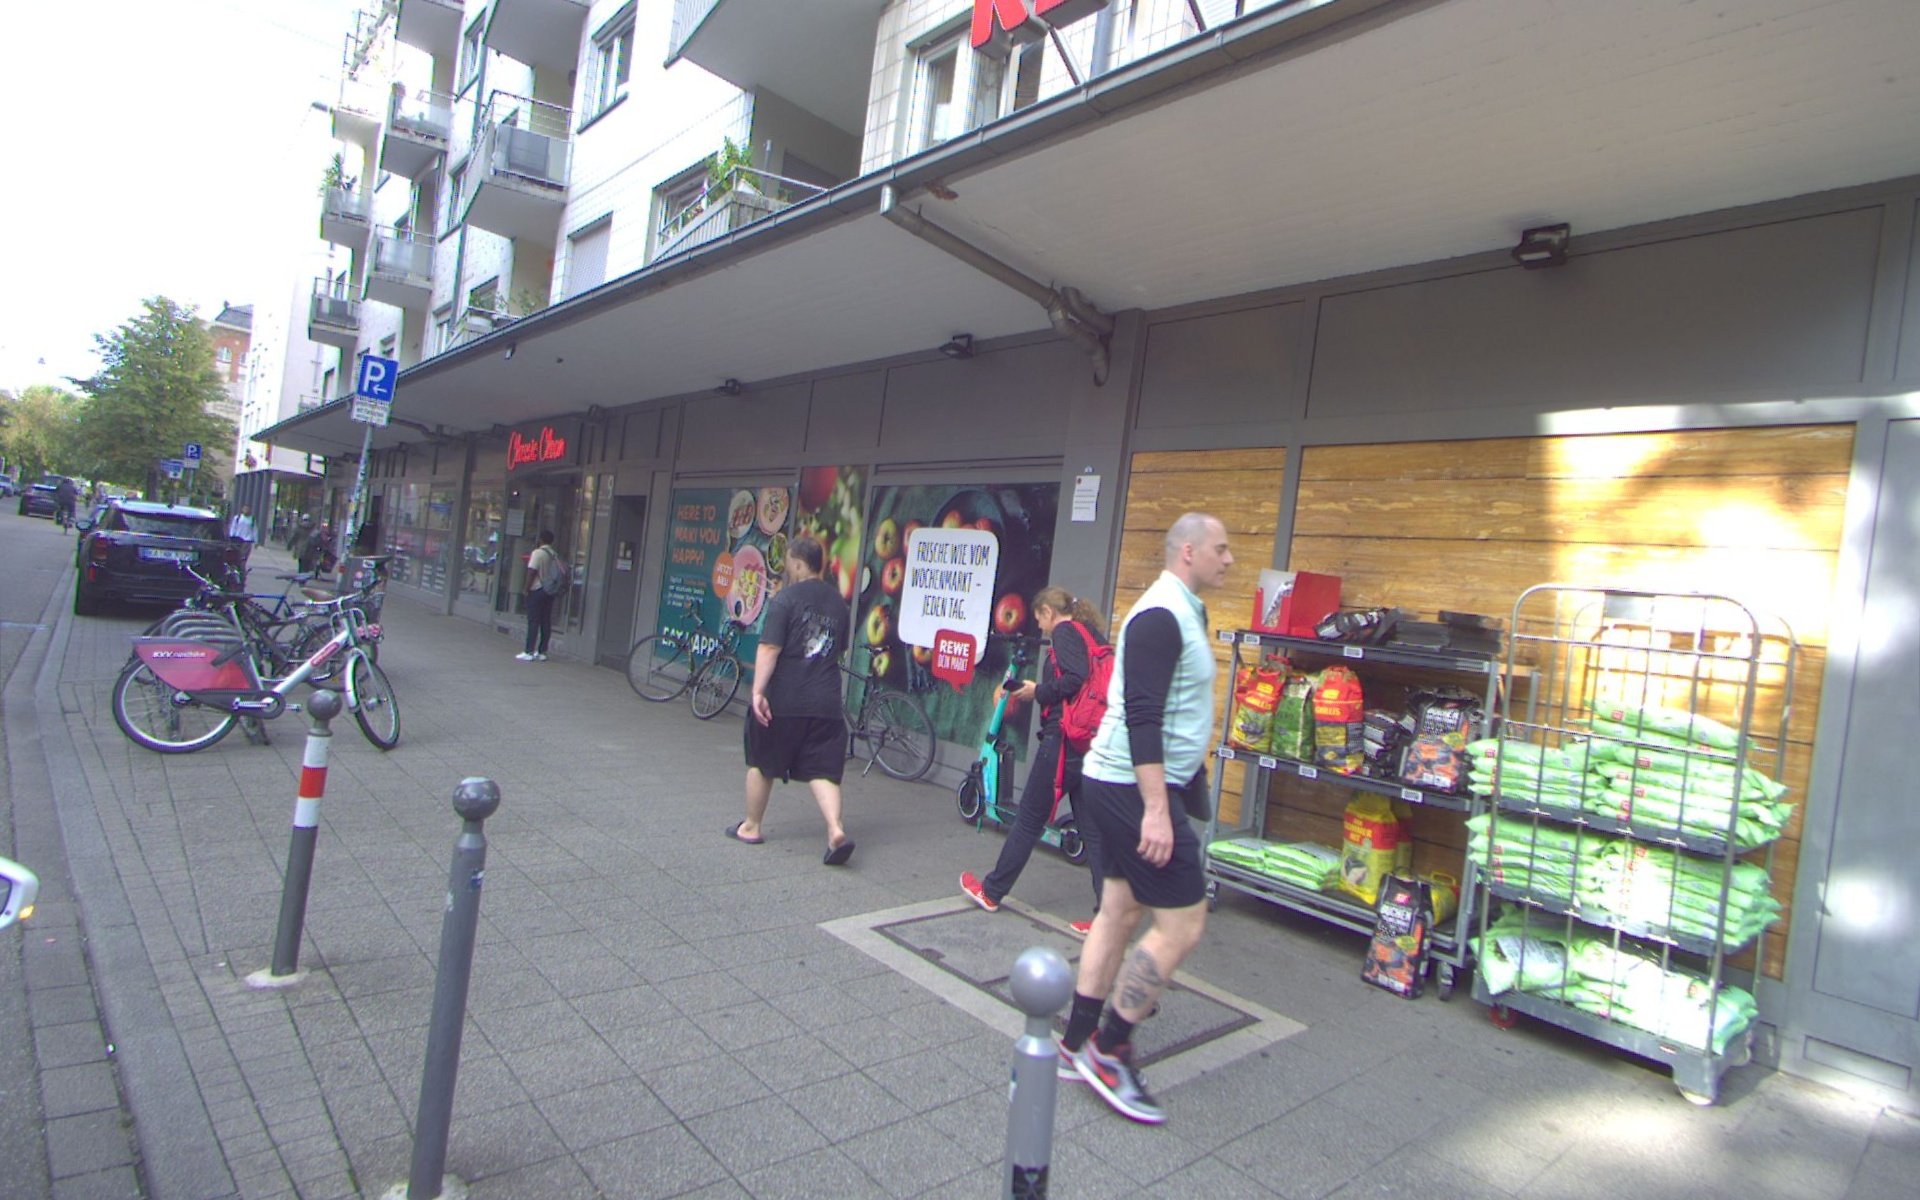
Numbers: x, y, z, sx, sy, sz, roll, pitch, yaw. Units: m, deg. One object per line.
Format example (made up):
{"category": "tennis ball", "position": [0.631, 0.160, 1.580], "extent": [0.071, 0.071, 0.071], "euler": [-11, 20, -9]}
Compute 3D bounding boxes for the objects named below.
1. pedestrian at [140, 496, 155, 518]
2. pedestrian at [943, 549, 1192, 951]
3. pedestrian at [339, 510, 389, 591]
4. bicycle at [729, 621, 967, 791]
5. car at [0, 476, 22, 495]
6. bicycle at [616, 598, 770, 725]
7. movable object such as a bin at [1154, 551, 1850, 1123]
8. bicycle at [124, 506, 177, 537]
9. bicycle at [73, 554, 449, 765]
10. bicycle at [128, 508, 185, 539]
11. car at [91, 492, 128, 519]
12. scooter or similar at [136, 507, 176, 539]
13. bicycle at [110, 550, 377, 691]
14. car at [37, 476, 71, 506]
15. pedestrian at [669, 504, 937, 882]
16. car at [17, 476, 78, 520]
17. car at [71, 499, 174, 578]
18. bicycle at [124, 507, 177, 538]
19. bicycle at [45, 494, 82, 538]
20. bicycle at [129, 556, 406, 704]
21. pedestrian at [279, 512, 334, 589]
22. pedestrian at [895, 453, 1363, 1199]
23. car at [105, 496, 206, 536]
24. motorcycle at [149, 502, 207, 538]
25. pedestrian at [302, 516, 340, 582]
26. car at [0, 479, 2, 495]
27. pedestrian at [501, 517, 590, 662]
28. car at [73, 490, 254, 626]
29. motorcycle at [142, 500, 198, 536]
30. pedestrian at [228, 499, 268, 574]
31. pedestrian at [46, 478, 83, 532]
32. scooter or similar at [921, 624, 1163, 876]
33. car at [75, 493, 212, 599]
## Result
{"category": "pedestrian", "position": [-89.149, -10.173, 110.363], "extent": [0.992, 2.257, 0.888], "euler": [8, 0, -40]}
{"category": "pedestrian", "position": [0.495, 0.639, 4.685], "extent": [0.719, 1.654, 0.703], "euler": [3, 3, -43]}
{"category": "pedestrian", "position": [-14.706, -1.213, 24.825], "extent": [0.698, 1.883, 0.643], "euler": [7, 1, -12]}
{"category": "bicycle", "position": [-0.897, 0.794, 7.938], "extent": [1.704, 1.056, 0.677], "euler": [6, 0, 30]}
{"category": "car", "position": [-98.409, -11.869, 104.125], "extent": [1.685, 1.568, 3.822], "euler": [9, -2, -41]}
{"category": "bicycle", "position": [-2.726, 0.586, 10.142], "extent": [0.738, 1.028, 1.762], "euler": [4, 2, -41]}
{"category": "movable object such as a bin", "position": [2.139, 0.762, 4.406], "extent": [0.776, 1.766, 2.396], "euler": [6, 0, -40]}
{"category": "bicycle", "position": [-36.669, -3.546, 45.591], "extent": [1.784, 1.175, 0.495], "euler": [5, 3, -38]}
{"category": "bicycle", "position": [-4.527, 0.376, 6.594], "extent": [1.875, 1.140, 0.896], "euler": [4, 3, -43]}
{"category": "bicycle", "position": [-33.070, -3.140, 41.434], "extent": [0.406, 1.071, 1.760], "euler": [8, 3, 44]}
{"category": "car", "position": [-64.267, -7.131, 76.068], "extent": [1.924, 1.657, 3.954], "euler": [9, -1, -40]}
{"category": "scooter or similar", "position": [-32.635, -3.120, 40.840], "extent": [1.188, 1.163, 0.377], "euler": [6, 4, -10]}
{"category": "bicycle", "position": [-6.263, 0.203, 8.886], "extent": [0.578, 1.085, 1.785], "euler": [8, 2, 39]}
{"category": "car", "position": [-72.389, -8.728, 80.384], "extent": [1.777, 2.044, 3.841], "euler": [9, -1, -42]}
{"category": "pedestrian", "position": [-0.857, 0.433, 5.386], "extent": [0.846, 1.770, 1.036], "euler": [3, 3, -43]}
{"category": "car", "position": [-45.551, -5.065, 50.303], "extent": [1.958, 1.761, 3.996], "euler": [8, -1, -40]}
{"category": "car", "position": [-19.013, -1.432, 22.898], "extent": [1.588, 1.457, 3.985], "euler": [6, 1, -40]}
{"category": "bicycle", "position": [-35.622, -3.410, 44.310], "extent": [1.756, 1.114, 0.407], "euler": [5, 3, -38]}
{"category": "bicycle", "position": [-29.948, -2.819, 33.609], "extent": [0.715, 1.289, 1.862], "euler": [8, 0, -40]}
{"category": "bicycle", "position": [-5.778, 0.269, 8.493], "extent": [0.560, 1.085, 1.785], "euler": [8, 2, 39]}
{"category": "pedestrian", "position": [-14.653, -1.116, 22.552], "extent": [0.820, 1.608, 0.772], "euler": [6, 1, -39]}
{"category": "pedestrian", "position": [0.548, 0.565, 3.092], "extent": [1.028, 1.859, 0.885], "euler": [6, 2, 27]}
{"category": "car", "position": [-41.799, -4.350, 52.325], "extent": [1.705, 1.566, 3.755], "euler": [6, 1, 39]}
{"category": "motorcycle", "position": [-37.911, -3.870, 48.803], "extent": [2.137, 1.454, 0.757], "euler": [5, 3, -37]}
{"category": "pedestrian", "position": [-16.426, -1.310, 25.846], "extent": [0.640, 1.609, 0.772], "euler": [4, 2, -39]}
{"category": "car", "position": [-88.854, -10.252, 91.840], "extent": [1.685, 1.842, 3.822], "euler": [9, -1, -41]}
{"category": "pedestrian", "position": [-5.392, -0.138, 13.071], "extent": [0.711, 1.770, 0.807], "euler": [3, 3, -43]}
{"category": "car", "position": [-11.593, -0.669, 14.636], "extent": [1.783, 1.627, 3.879], "euler": [4, 2, -40]}
{"category": "motorcycle", "position": [-40.006, -4.129, 50.967], "extent": [2.137, 1.551, 0.679], "euler": [5, 3, -37]}
{"category": "pedestrian", "position": [-17.755, -1.580, 25.076], "extent": [0.609, 1.748, 1.113], "euler": [6, 2, -40]}
{"category": "pedestrian", "position": [-29.934, -3.190, 33.647], "extent": [0.715, 1.669, 0.920], "euler": [8, 0, -40]}
{"category": "scooter or similar", "position": [0.458, 0.834, 6.046], "extent": [0.629, 1.229, 1.240], "euler": [4, 3, -43]}
{"category": "car", "position": [-15.134, -1.045, 18.571], "extent": [1.682, 1.597, 3.855], "euler": [6, 0, -42]}
